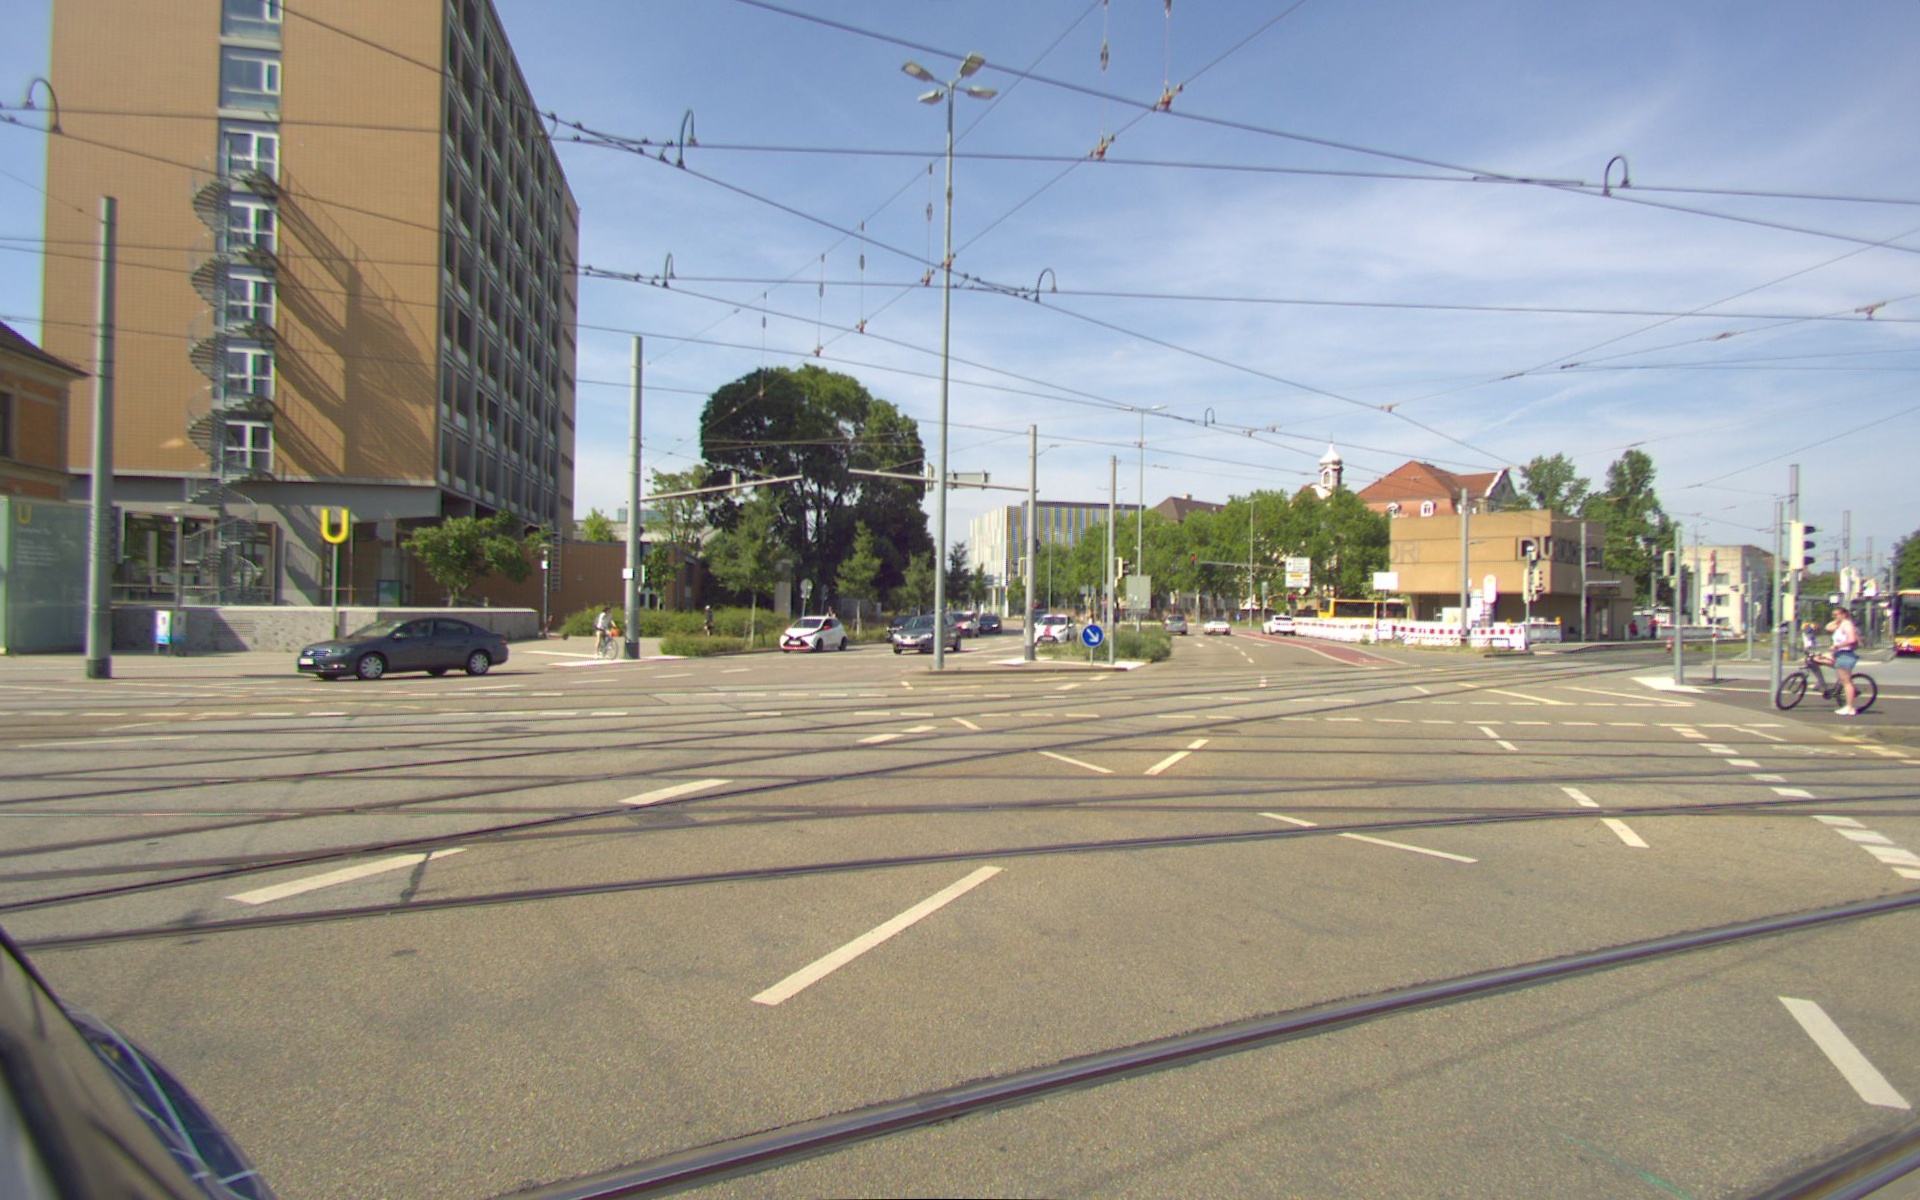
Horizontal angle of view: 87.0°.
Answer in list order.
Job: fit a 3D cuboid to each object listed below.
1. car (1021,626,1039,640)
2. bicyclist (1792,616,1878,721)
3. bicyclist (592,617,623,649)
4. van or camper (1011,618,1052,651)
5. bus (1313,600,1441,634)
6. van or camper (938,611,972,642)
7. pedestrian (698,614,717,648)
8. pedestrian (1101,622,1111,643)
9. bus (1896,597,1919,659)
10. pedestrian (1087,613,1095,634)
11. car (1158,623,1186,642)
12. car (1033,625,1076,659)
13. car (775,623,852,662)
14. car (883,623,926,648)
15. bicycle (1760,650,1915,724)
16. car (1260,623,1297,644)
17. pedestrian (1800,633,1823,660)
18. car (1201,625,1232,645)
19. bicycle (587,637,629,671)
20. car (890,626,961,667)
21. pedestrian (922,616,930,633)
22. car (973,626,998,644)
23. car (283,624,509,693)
[{"bbox_3d":[6.811,3.177,98.816,1.469,1.304,3.487,-1,-1,-1],"label":"car"},{"bbox_3d":[14.793,1.142,17.124,0.767,1.697,0.749,2,-1,8],"label":"bicyclist"},{"bbox_3d":[-11.836,1.104,33.992,0.705,1.036,0.918,2,0,-38],"label":"bicyclist"},{"bbox_3d":[4.456,2.104,62.400,1.900,1.902,4.904,0,-1,11],"label":"van or camper"},{"bbox_3d":[40.545,1.675,98.402,11.948,3.061,2.803,1,-1,-12],"label":"bus"},{"bbox_3d":[-0.293,1.711,66.551,1.709,1.902,4.913,-1,-1,6],"label":"van or camper"},{"bbox_3d":[-12.804,1.557,51.311,0.588,1.676,0.727,2,0,18],"label":"pedestrian"},{"bbox_3d":[12.104,2.672,83.860,0.638,1.686,0.748,0,-2,17],"label":"pedestrian"},{"bbox_3d":[46.061,1.183,47.345,11.615,2.703,2.760,0,-2,-45],"label":"bus"},{"bbox_3d":[10.901,1.963,83.961,0.537,1.686,0.748,0,-1,18],"label":"pedestrian"},{"bbox_3d":[15.348,2.314,73.380,1.580,1.296,3.992,-1,-1,7],"label":"car"},{"bbox_3d":[4.395,1.906,46.729,1.638,1.425,3.850,2,0,10],"label":"car"},{"bbox_3d":[-5.953,1.720,41.453,1.669,1.486,3.738,0,-1,17],"label":"car"},{"bbox_3d":[-2.951,1.888,54.349,1.395,1.305,3.567,0,-1,12],"label":"car"},{"bbox_3d":[14.799,1.455,17.106,1.827,1.092,0.749,2,-1,8],"label":"bicycle"},{"bbox_3d":[22.918,2.396,72.873,1.782,1.431,3.992,-1,-1,7],"label":"car"},{"bbox_3d":[43.940,2.408,52.239,0.534,1.377,0.906,-2,-1,18],"label":"pedestrian"},{"bbox_3d":[18.198,2.494,72.056,1.580,1.296,3.992,-1,-1,7],"label":"car"},{"bbox_3d":[-11.820,1.797,33.942,0.705,1.023,1.923,2,0,-38],"label":"bicycle"},{"bbox_3d":[-1.253,1.763,38.920,1.636,1.435,4.101,-2,-1,14],"label":"car"},{"bbox_3d":[-2.994,2.171,88.338,0.634,1.457,0.570,2,0,-3],"label":"pedestrian"},{"bbox_3d":[1.948,2.664,76.820,1.473,1.304,3.477,0,-1,8],"label":"car"},{"bbox_3d":[-13.127,1.303,23.869,1.629,1.446,4.484,0,-2,28],"label":"car"}]
